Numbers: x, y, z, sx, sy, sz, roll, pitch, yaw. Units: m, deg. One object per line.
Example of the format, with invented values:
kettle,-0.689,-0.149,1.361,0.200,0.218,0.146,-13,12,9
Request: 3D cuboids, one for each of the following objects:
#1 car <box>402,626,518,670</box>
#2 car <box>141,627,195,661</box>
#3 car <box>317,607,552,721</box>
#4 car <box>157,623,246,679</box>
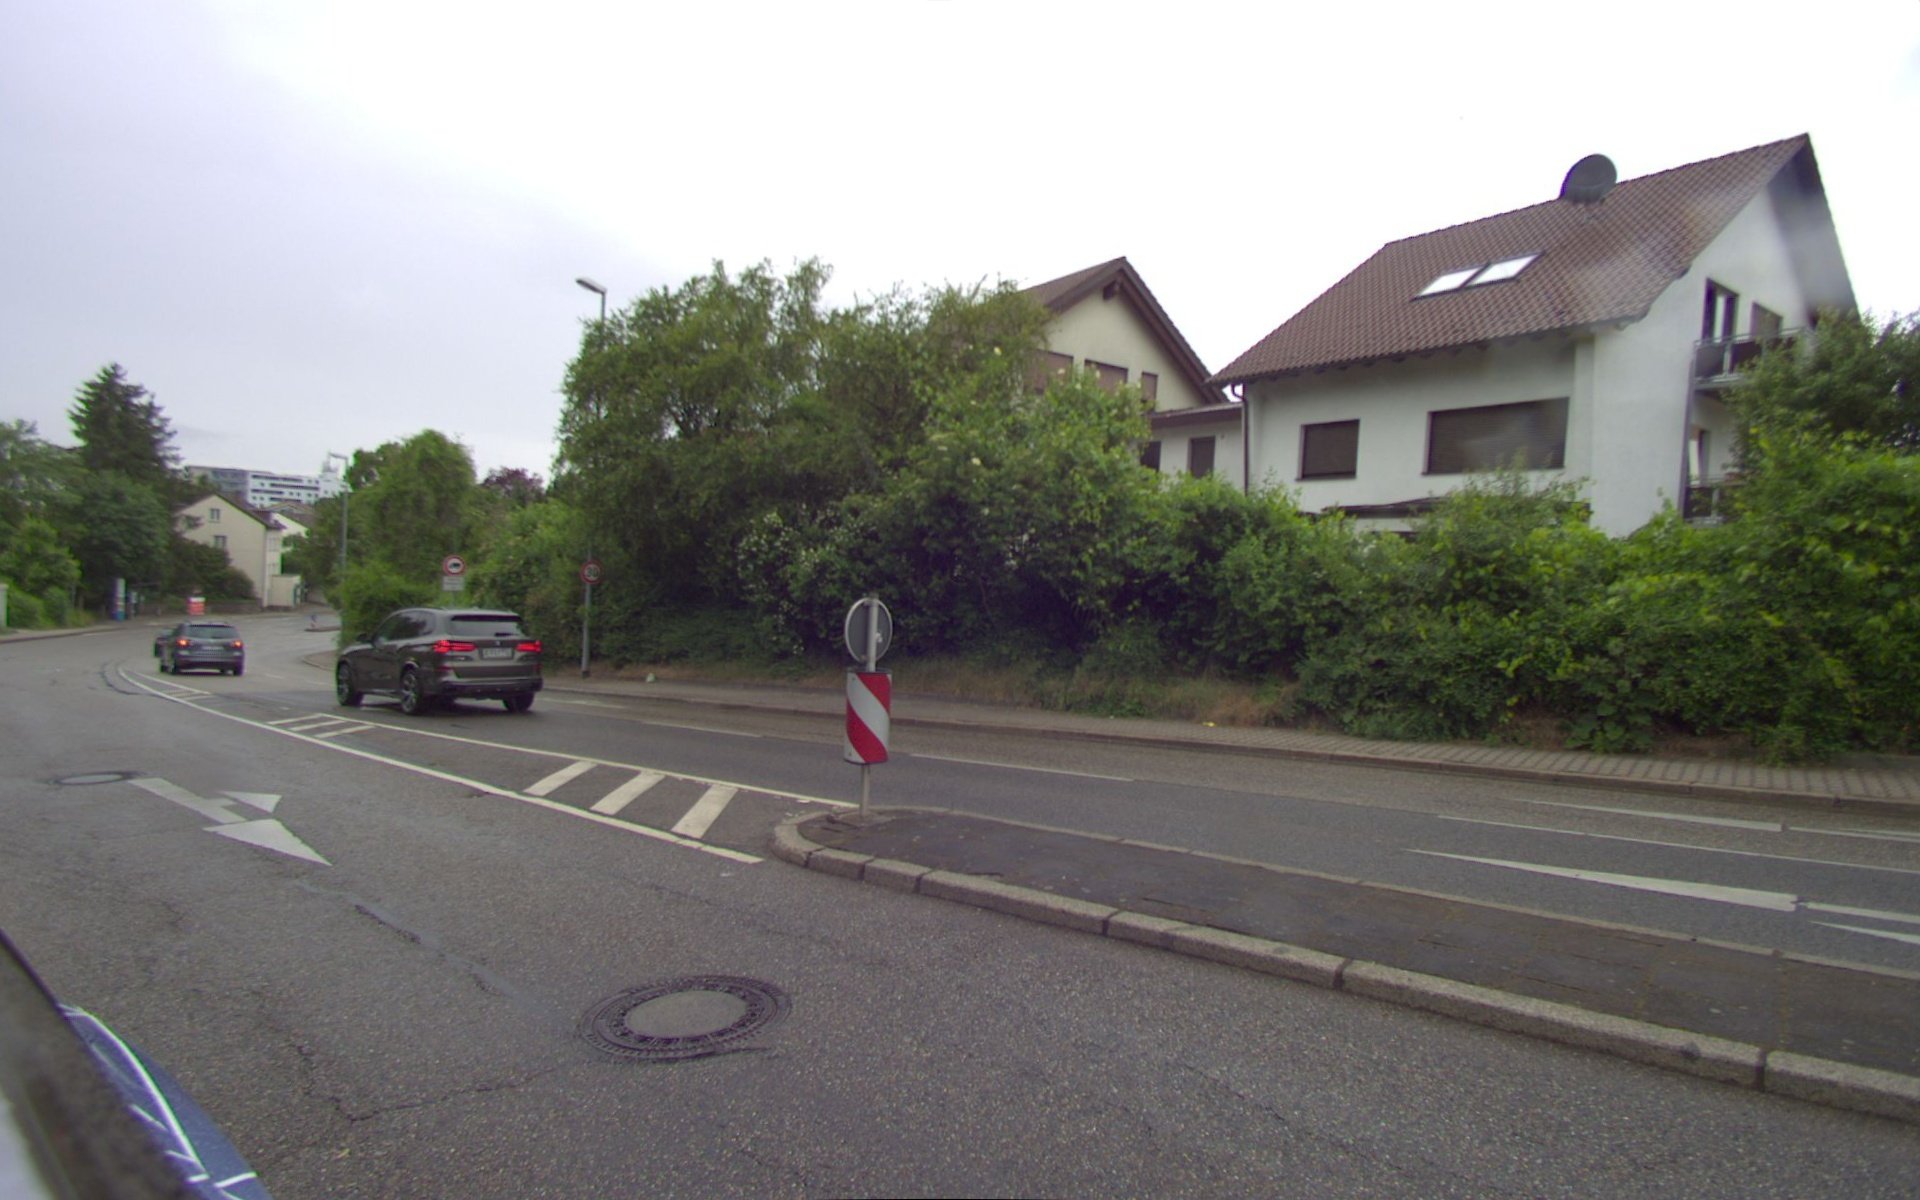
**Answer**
car,-20.991,1.965,42.544,3.939,1.548,2.003,-3,1,-42
car,-36.790,2.025,47.030,1.871,1.521,4.008,3,-3,-38
car,-9.247,1.045,17.650,4.714,1.730,1.973,-1,-3,40
car,-23.160,1.528,30.859,1.721,1.614,4.036,3,-3,-43
